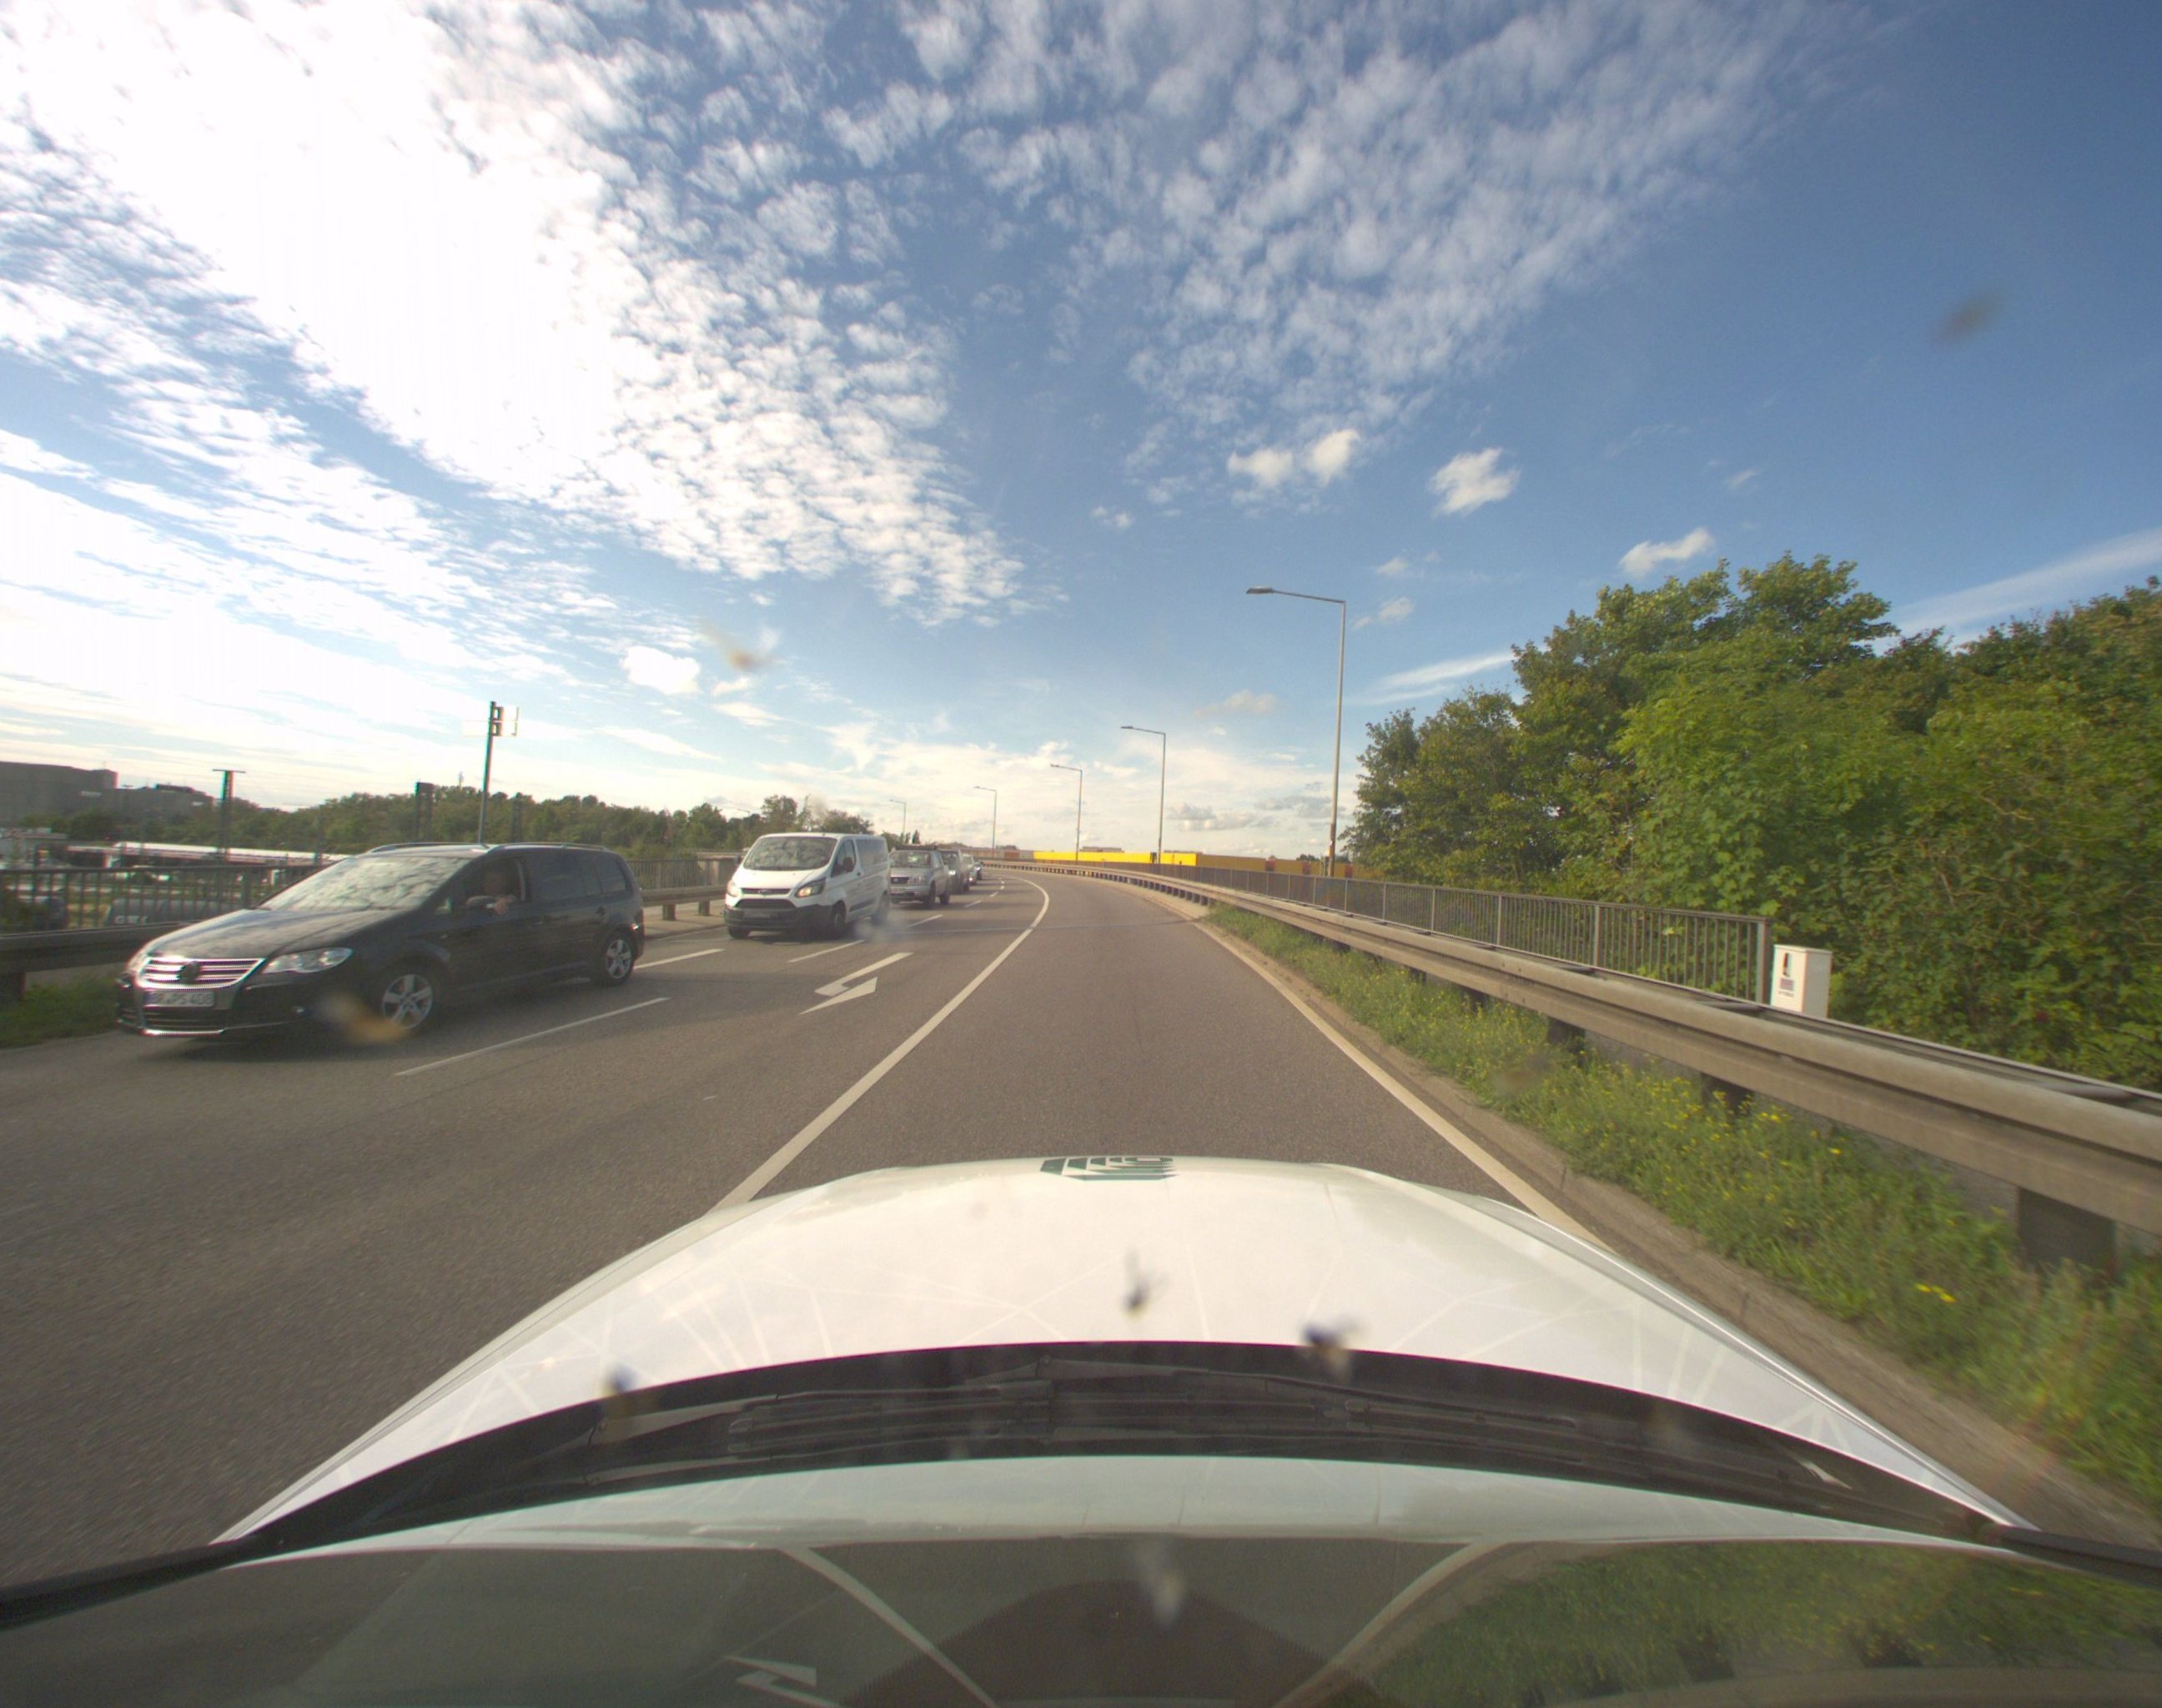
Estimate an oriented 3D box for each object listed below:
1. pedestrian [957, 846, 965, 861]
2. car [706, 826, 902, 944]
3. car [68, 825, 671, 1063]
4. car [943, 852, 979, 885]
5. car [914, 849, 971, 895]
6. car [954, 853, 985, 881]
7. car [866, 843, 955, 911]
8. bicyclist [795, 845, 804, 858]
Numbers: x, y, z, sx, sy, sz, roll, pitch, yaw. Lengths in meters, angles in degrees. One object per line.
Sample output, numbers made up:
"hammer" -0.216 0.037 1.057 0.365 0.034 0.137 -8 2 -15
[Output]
"pedestrian" -13.929 -0.031 94.330 0.681 1.661 0.857 1 -1 -30
"car" -5.183 0.511 16.145 1.977 1.964 5.050 0 0 2
"car" -6.158 0.620 7.964 1.738 1.654 4.458 0 0 5
"car" -5.845 0.683 39.896 1.682 1.545 3.912 0 0 -8
"car" -5.306 0.645 31.661 1.867 1.666 4.620 0 0 -6
"car" -6.341 0.709 46.354 1.682 1.545 3.912 0 0 -8
"car" -4.764 0.595 23.242 1.768 1.746 3.836 0 0 -1
"bicyclist" -37.833 -0.306 109.417 0.773 1.660 1.107 1 -1 -42
